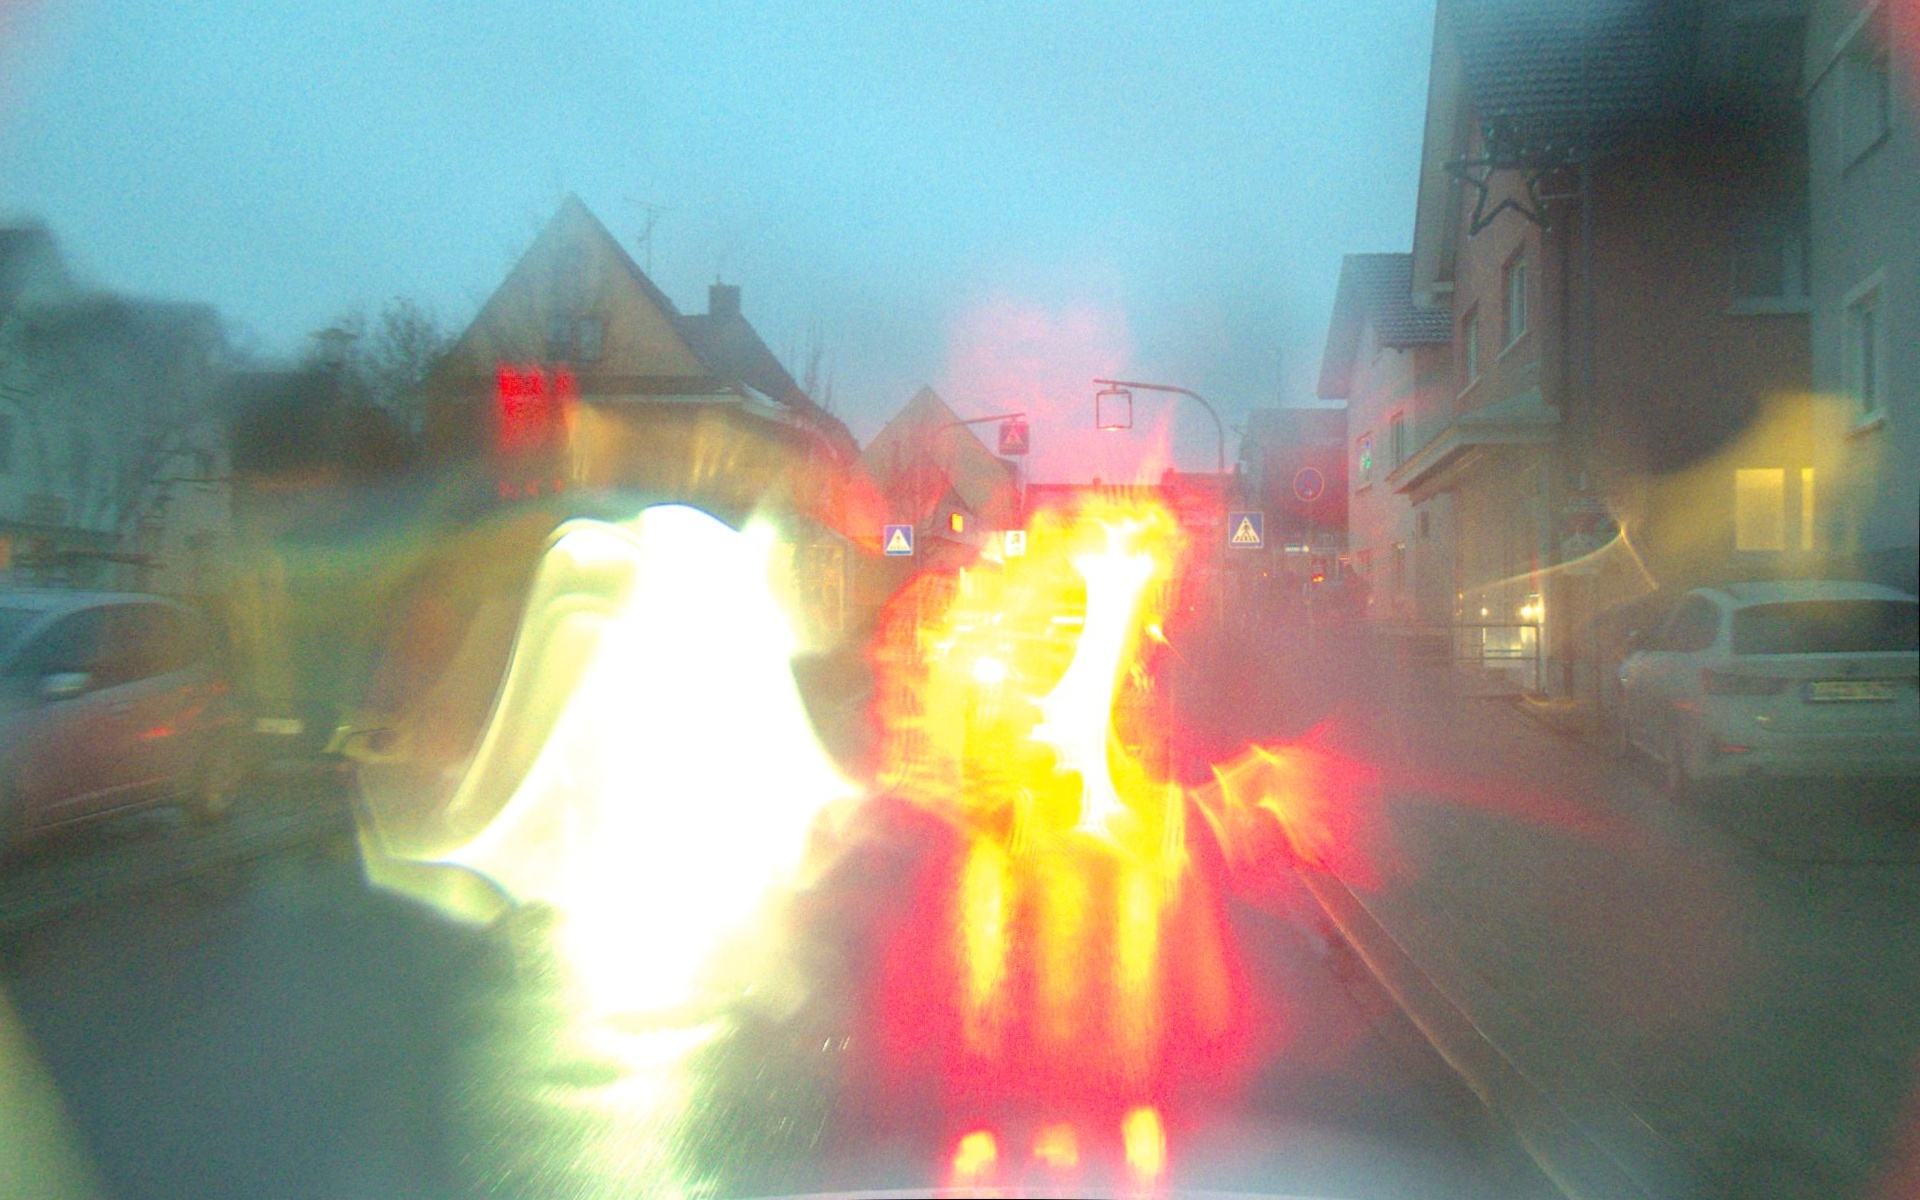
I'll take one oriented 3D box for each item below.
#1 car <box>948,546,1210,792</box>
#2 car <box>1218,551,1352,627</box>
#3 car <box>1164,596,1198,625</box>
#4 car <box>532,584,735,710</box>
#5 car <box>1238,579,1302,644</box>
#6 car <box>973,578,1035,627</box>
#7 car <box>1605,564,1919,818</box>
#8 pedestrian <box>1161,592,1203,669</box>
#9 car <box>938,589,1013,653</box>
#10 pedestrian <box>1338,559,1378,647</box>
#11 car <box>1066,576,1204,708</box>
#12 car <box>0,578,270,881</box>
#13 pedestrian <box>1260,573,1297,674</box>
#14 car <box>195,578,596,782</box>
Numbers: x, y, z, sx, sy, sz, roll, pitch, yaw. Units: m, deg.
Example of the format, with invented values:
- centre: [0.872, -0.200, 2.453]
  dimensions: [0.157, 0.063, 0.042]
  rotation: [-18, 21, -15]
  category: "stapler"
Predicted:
- centre: [1.233, 0.486, 14.738]
  dimensions: [1.951, 1.827, 4.652]
  rotation: [0, 1, 9]
  category: "car"
- centre: [9.137, -0.303, 46.693]
  dimensions: [3.618, 2.049, 1.690]
  rotation: [1, -1, 9]
  category: "car"
- centre: [11.124, 0.512, 83.532]
  dimensions: [1.502, 1.267, 3.650]
  rotation: [-5, 1, 6]
  category: "car"
- centre: [-4.438, 0.597, 23.074]
  dimensions: [1.634, 1.543, 4.003]
  rotation: [2, 0, 6]
  category: "car"
- centre: [10.373, 0.359, 55.561]
  dimensions: [1.607, 2.049, 4.002]
  rotation: [-1, 0, 4]
  category: "car"
- centre: [1.697, 0.083, 62.627]
  dimensions: [1.951, 1.783, 4.364]
  rotation: [0, 0, 7]
  category: "car"
- centre: [5.942, 0.514, 11.990]
  dimensions: [1.843, 1.492, 4.546]
  rotation: [-2, 0, 15]
  category: "car"
- centre: [5.325, 0.721, 39.733]
  dimensions: [0.953, 1.773, 0.962]
  rotation: [1, 1, 7]
  category: "pedestrian"
- centre: [0.567, 0.663, 55.287]
  dimensions: [1.951, 2.049, 4.365]
  rotation: [0, 0, 8]
  category: "car"
- centre: [8.709, 0.057, 36.217]
  dimensions: [0.688, 1.909, 0.617]
  rotation: [1, 1, -1]
  category: "pedestrian"
- centre: [2.534, 0.556, 23.559]
  dimensions: [1.759, 1.691, 4.003]
  rotation: [1, 0, 7]
  category: "car"
- centre: [-5.671, 0.646, 9.487]
  dimensions: [1.657, 1.543, 3.774]
  rotation: [1, 0, 3]
  category: "car"
- centre: [6.182, 0.459, 32.051]
  dimensions: [0.649, 1.921, 0.825]
  rotation: [1, -1, 13]
  category: "pedestrian"
- centre: [-4.910, 0.625, 15.127]
  dimensions: [1.711, 1.543, 4.345]
  rotation: [2, 0, 7]
  category: "car"
